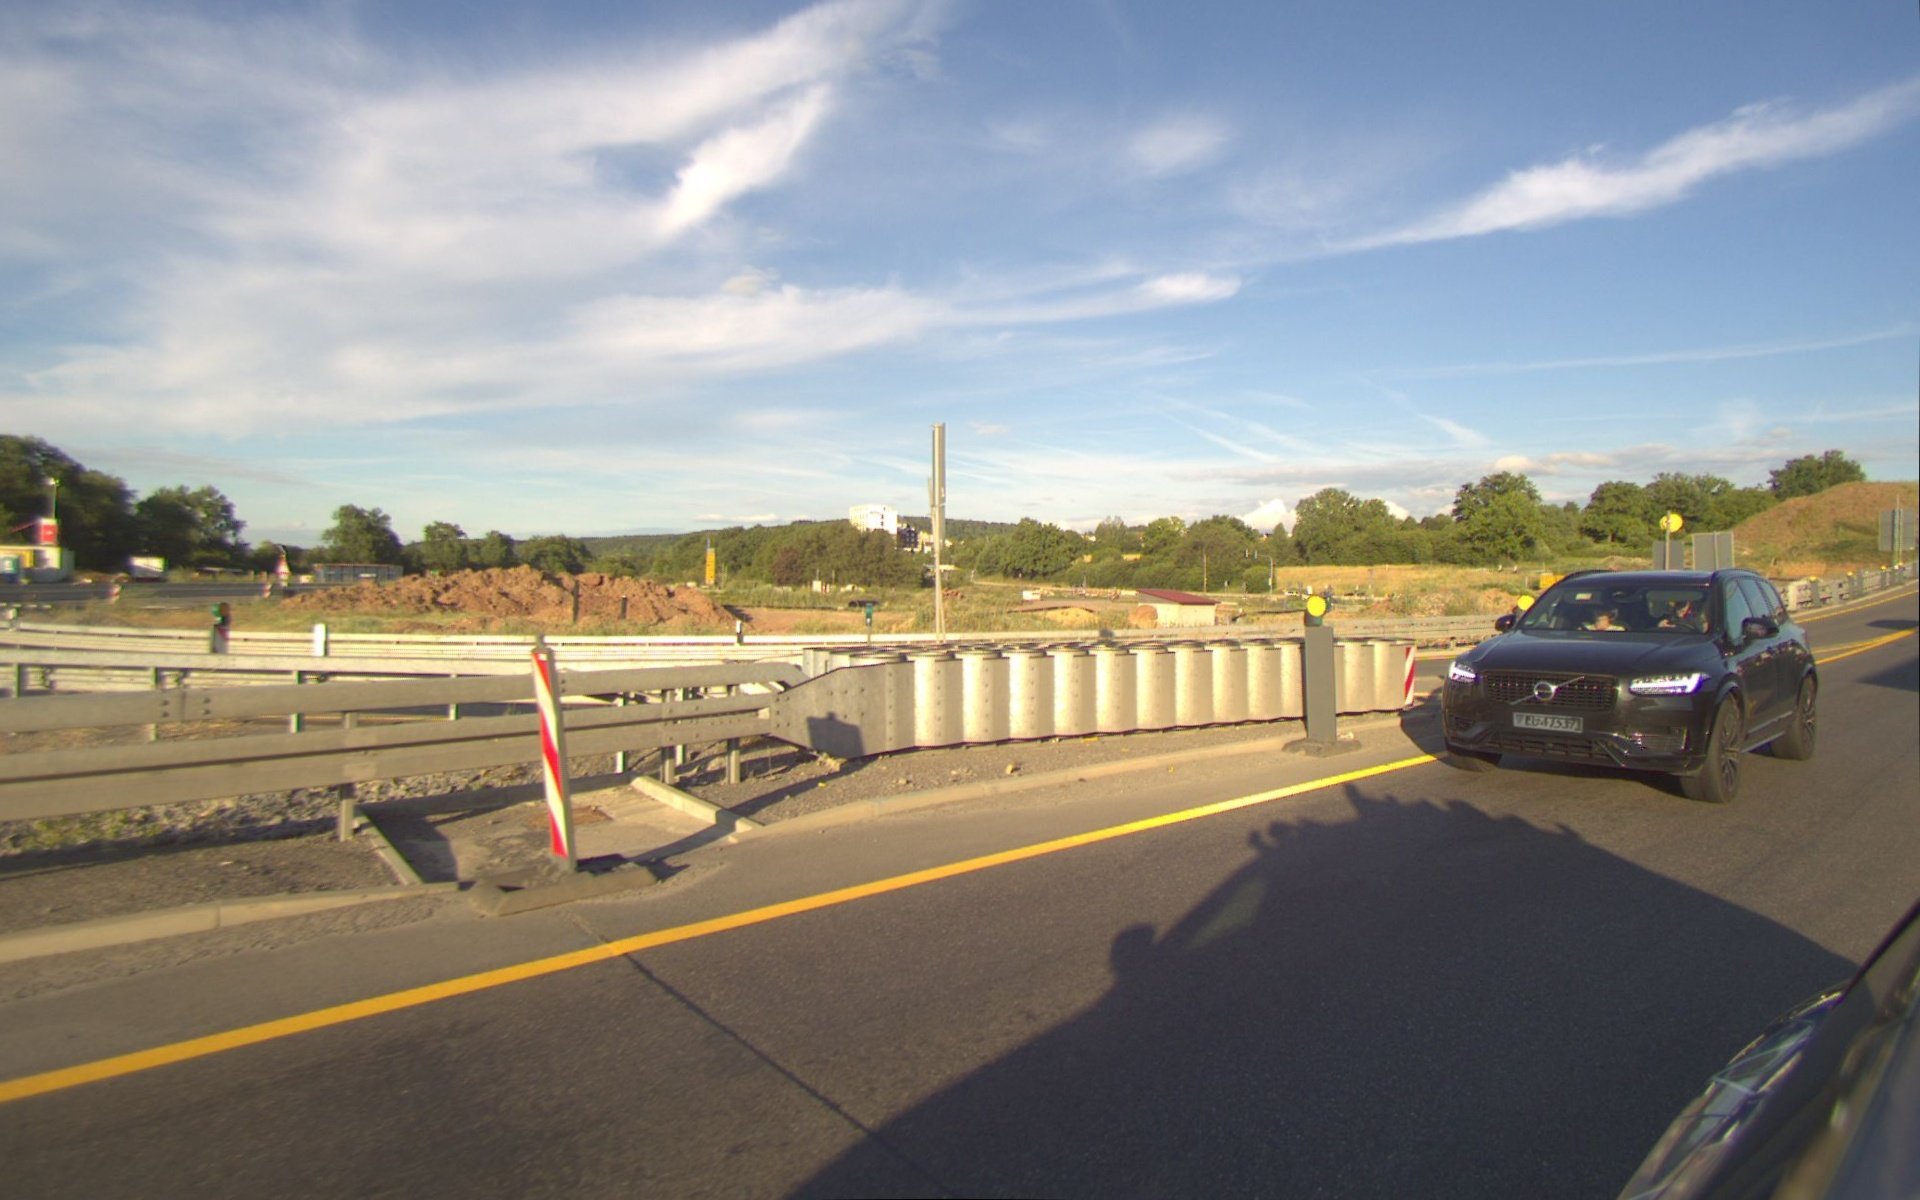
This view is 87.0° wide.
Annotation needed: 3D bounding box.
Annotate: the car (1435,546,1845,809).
[{"bbox_3d":[6.223,0.504,8.999,4.803,1.735,1.900,0,0,-42],"label":"car"}]
